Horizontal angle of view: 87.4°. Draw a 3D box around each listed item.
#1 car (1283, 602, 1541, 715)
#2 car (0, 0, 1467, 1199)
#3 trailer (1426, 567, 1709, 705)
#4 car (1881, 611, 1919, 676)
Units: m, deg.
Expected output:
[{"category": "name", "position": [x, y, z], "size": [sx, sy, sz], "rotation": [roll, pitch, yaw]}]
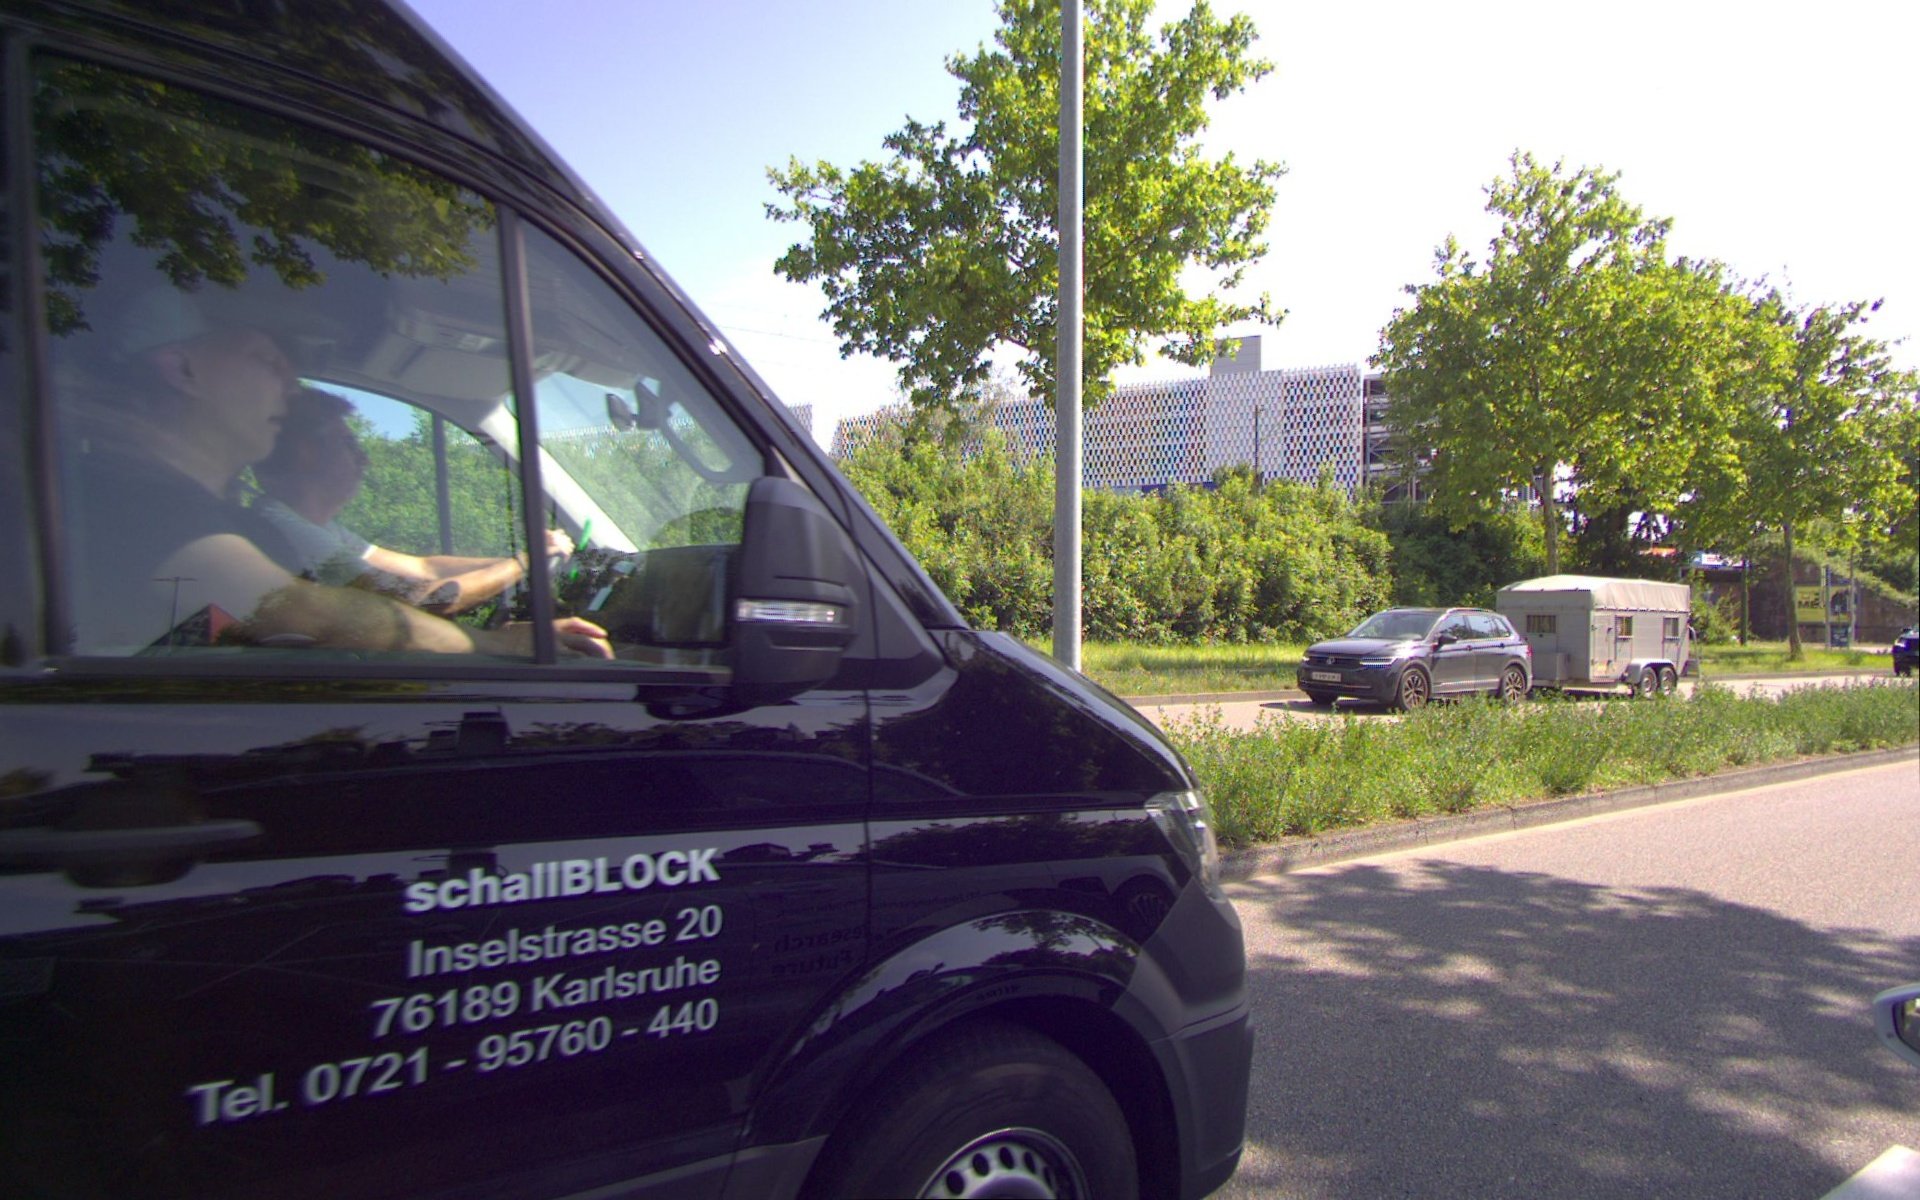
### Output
[{"category": "car", "position": [7.478, 0.906, 16.515], "size": [4.310, 1.643, 1.707], "rotation": [1, -1, -30]}, {"category": "car", "position": [-2.049, 0.118, 1.495], "size": [6.096, 2.642, 2.006], "rotation": [1, 0, -31]}, {"category": "trailer", "position": [11.637, 0.662, 19.157], "size": [5.473, 2.295, 2.298], "rotation": [1, -1, -30]}, {"category": "car", "position": [29.724, 1.313, 29.992], "size": [5.313, 1.813, 1.756], "rotation": [1, 1, -30]}]
